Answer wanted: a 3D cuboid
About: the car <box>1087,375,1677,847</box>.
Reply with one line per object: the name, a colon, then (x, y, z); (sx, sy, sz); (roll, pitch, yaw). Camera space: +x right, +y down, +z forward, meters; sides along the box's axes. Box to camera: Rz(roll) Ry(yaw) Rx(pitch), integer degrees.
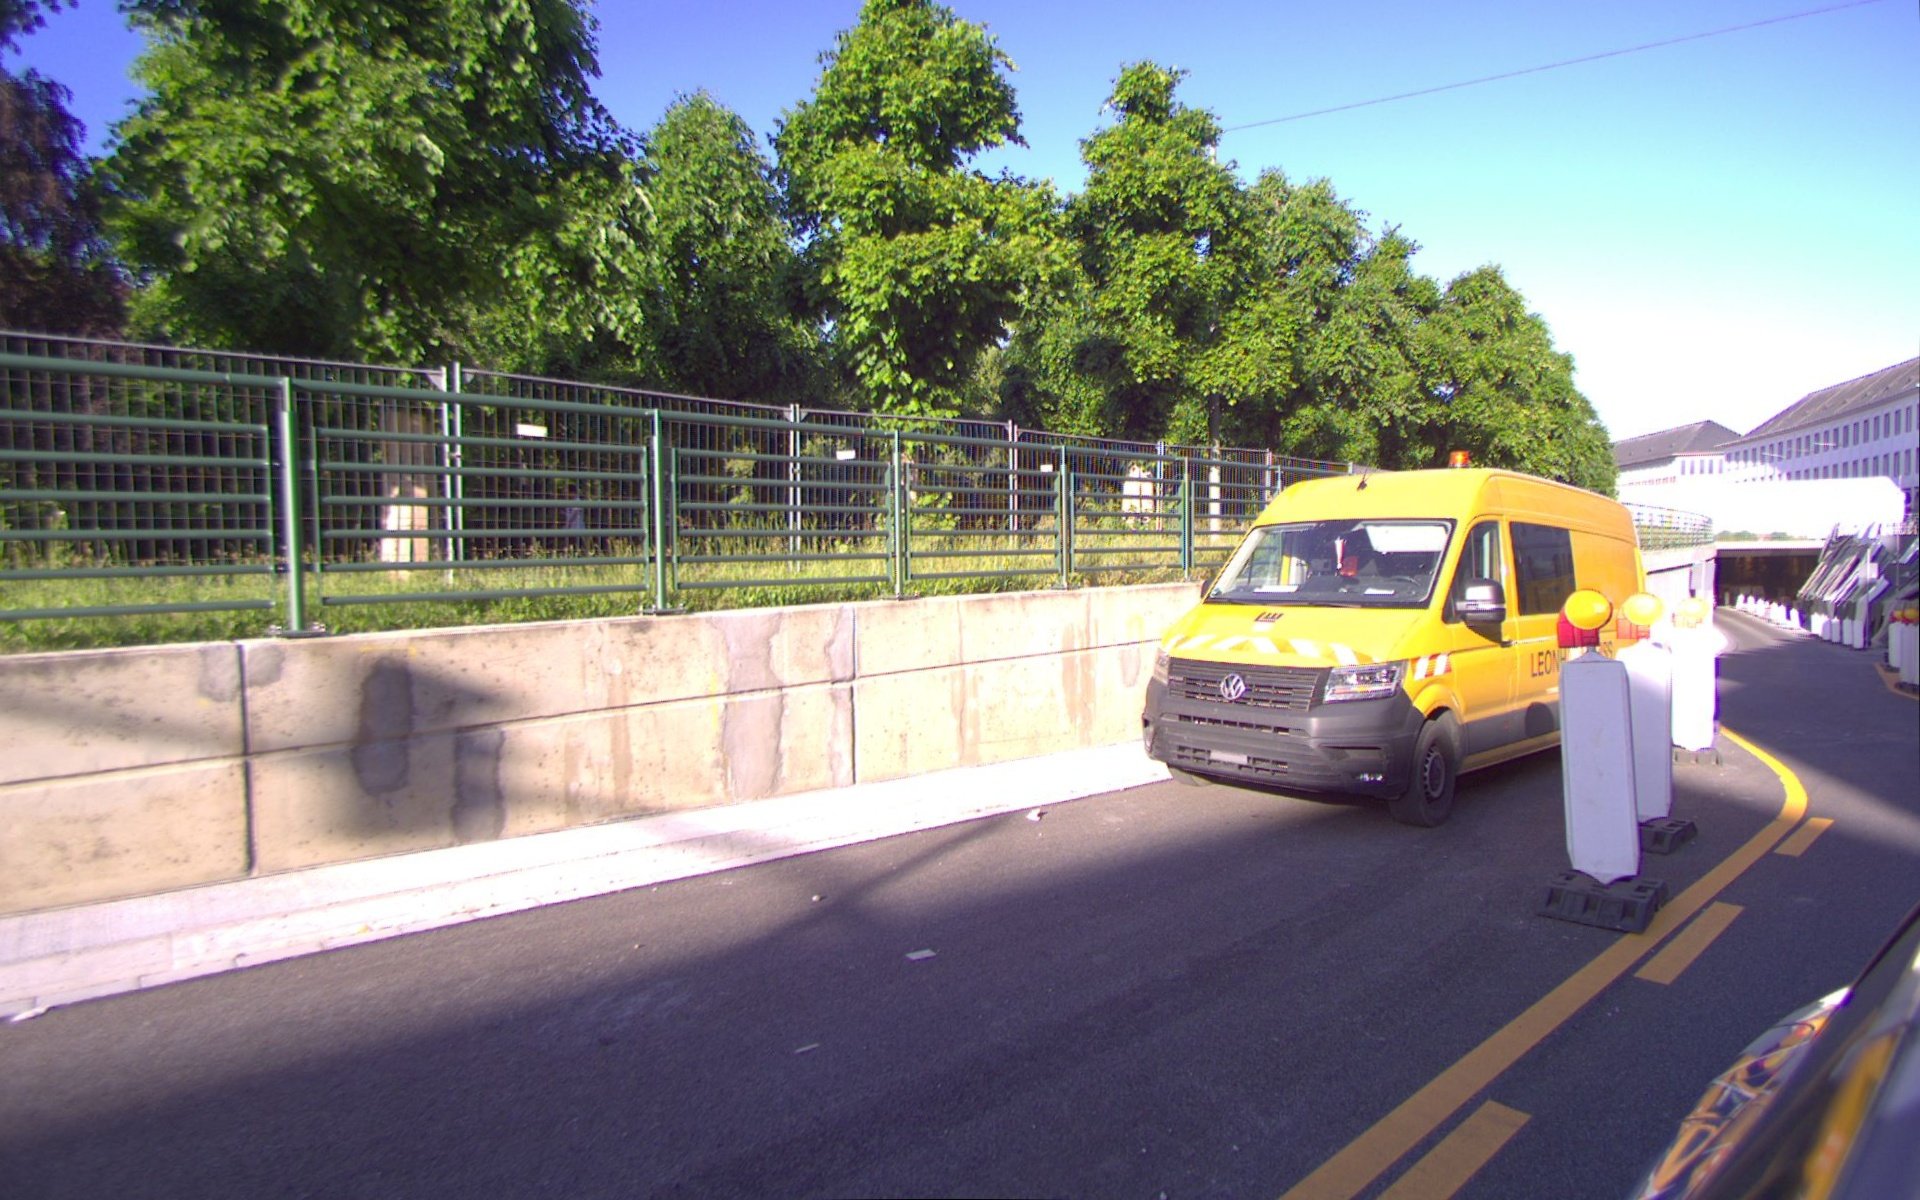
car: (4.137, 0.025, 8.828); (6.869, 2.657, 2.114); (0, 1, -43)
